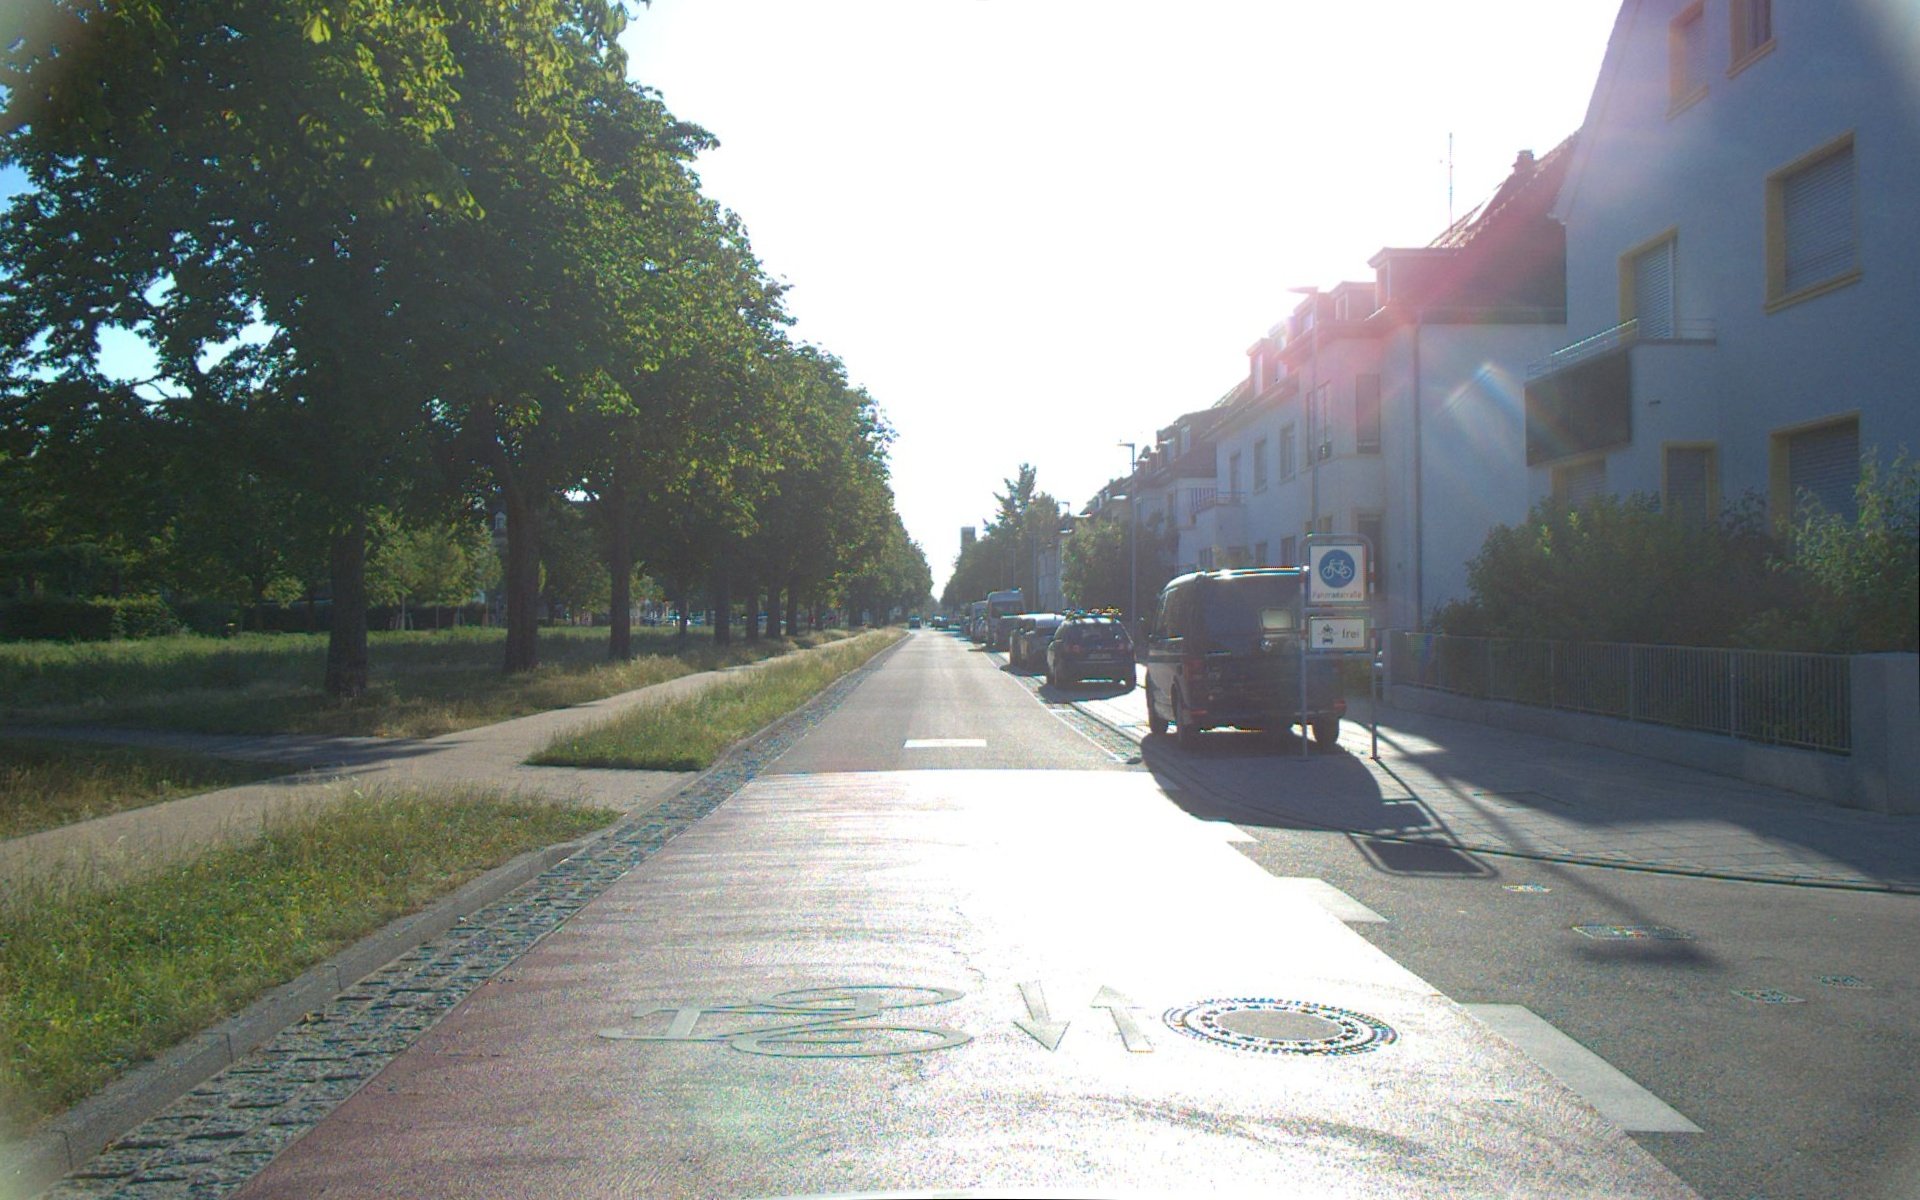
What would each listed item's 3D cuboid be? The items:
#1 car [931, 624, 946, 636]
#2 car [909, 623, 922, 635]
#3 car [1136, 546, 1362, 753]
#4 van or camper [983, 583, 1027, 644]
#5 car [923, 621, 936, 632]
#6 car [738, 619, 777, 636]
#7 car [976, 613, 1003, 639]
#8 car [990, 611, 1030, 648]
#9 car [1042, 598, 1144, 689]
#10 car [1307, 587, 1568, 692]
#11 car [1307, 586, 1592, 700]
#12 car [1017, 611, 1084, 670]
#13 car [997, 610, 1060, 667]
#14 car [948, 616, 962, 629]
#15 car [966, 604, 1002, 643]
[{"bbox_3d":[-2.815,3.952,217.743,1.825,1.625,3.892,1,-1,-2],"label":"car"},{"bbox_3d":[-6.190,4.022,229.880,1.825,1.625,3.868,1,-1,-2],"label":"car"},{"bbox_3d":[3.383,0.559,20.303,1.867,2.169,4.814,-2,-1,0],"label":"car"},{"bbox_3d":[2.181,0.719,81.632,1.904,2.826,5.938,1,-2,-1],"label":"van or camper"},{"bbox_3d":[-4.618,3.995,248.097,1.825,1.625,3.868,1,-1,-2],"label":"car"},{"bbox_3d":[-22.526,3.023,184.144,4.266,1.795,1.995,1,-2,-9],"label":"car"},{"bbox_3d":[1.885,1.654,105.765,1.616,1.557,3.850,-1,-1,0],"label":"car"},{"bbox_3d":[2.246,1.341,75.196,1.630,1.621,4.085,1,-1,-1],"label":"car"},{"bbox_3d":[2.871,0.928,36.624,1.757,1.802,4.471,-2,-1,-1],"label":"car"},{"bbox_3d":[8.569,0.702,29.906,4.134,1.756,1.851,-1,-1,-5],"label":"car"},{"bbox_3d":[8.013,0.709,27.311,4.134,1.756,1.851,1,-1,-4],"label":"car"},{"bbox_3d":[2.607,1.175,48.417,1.683,1.601,4.210,-2,-1,0],"label":"car"},{"bbox_3d":[2.213,1.230,54.231,1.795,1.714,4.414,2,0,-1],"label":"car"},{"bbox_3d":[-0.568,2.728,199.443,1.616,1.557,3.850,-1,-1,0],"label":"car"},{"bbox_3d":[1.573,1.589,111.758,2.084,2.577,5.185,-1,-1,-3],"label":"car"}]
